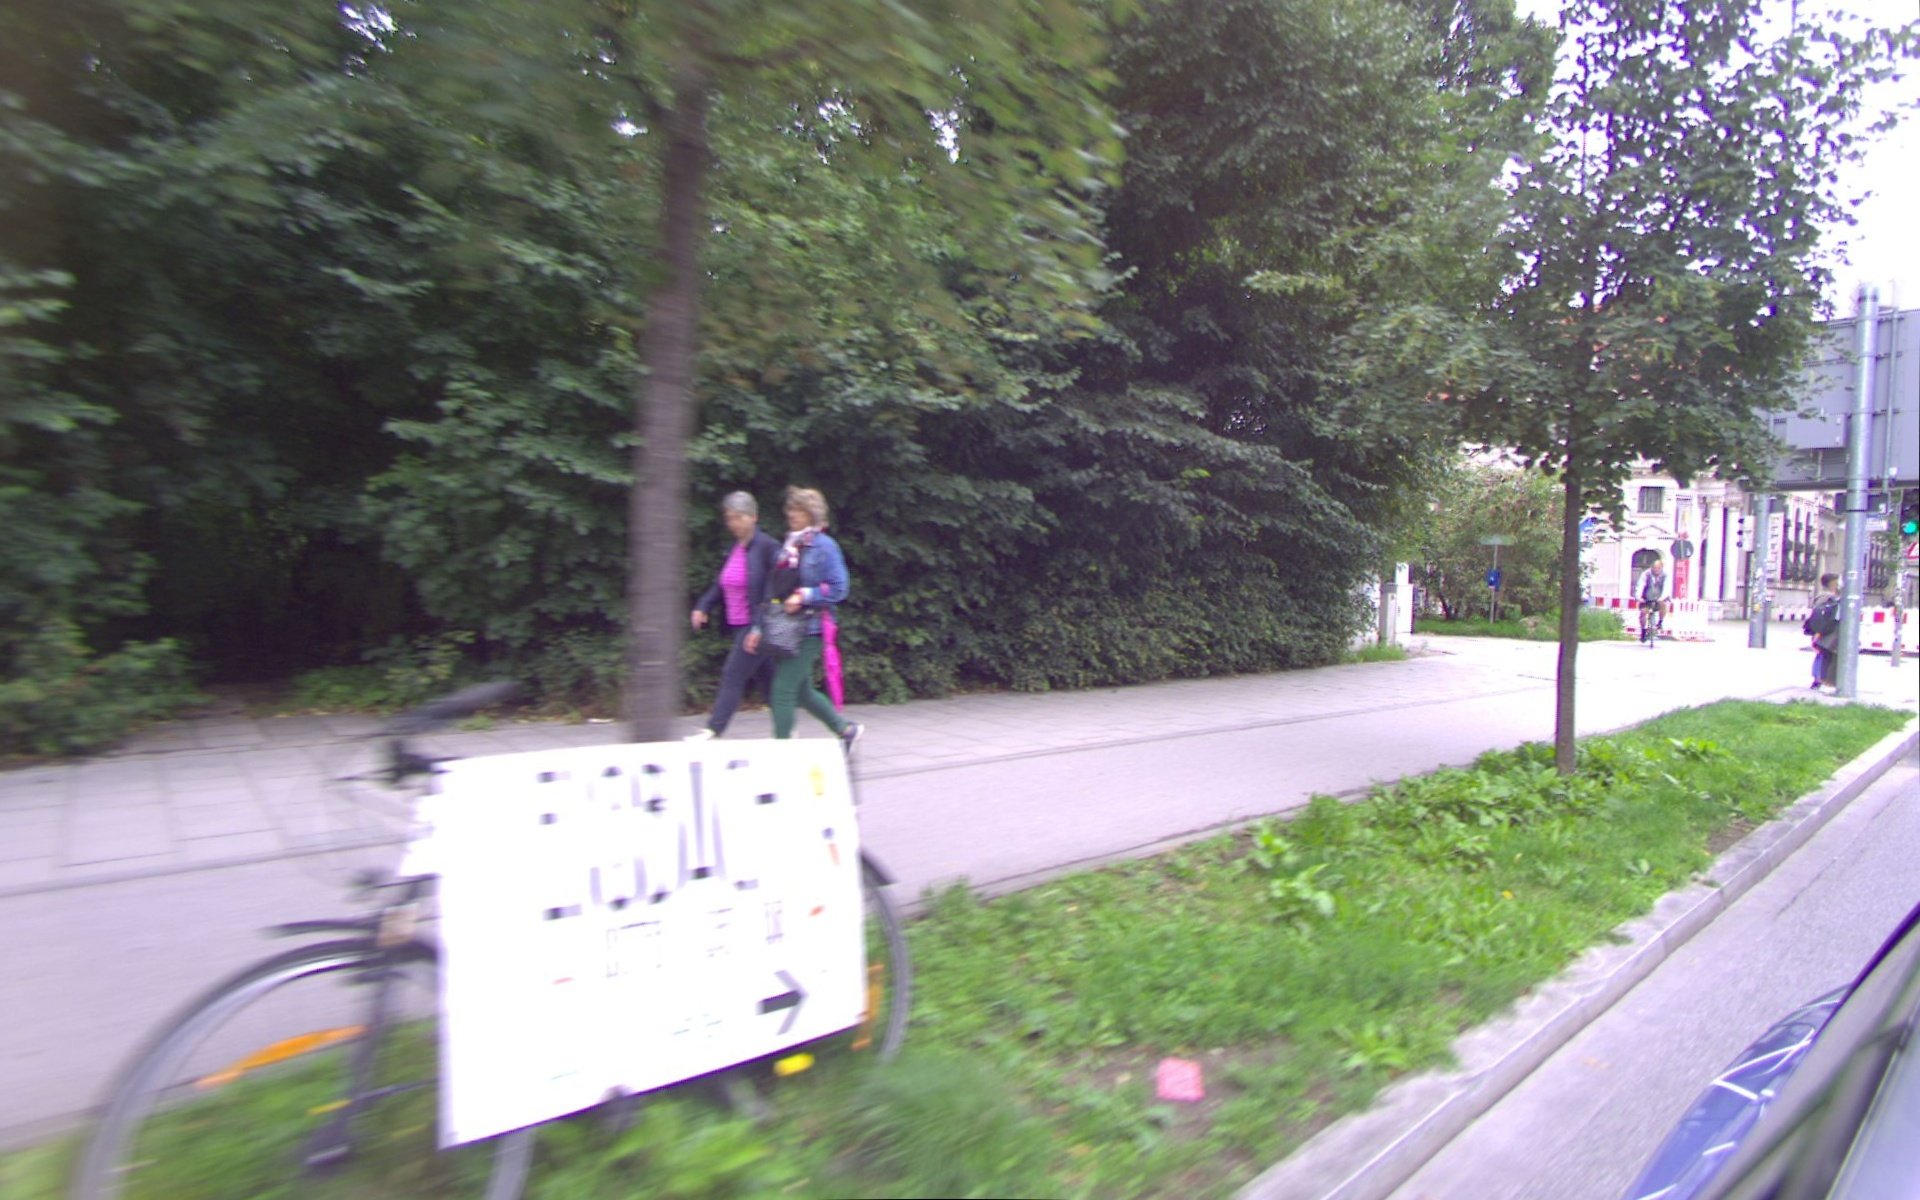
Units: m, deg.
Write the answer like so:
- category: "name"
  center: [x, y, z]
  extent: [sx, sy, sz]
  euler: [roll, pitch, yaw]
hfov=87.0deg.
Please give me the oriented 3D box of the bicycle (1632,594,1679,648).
- category: "bicycle"
  center: [14.623, 0.412, 21.253]
  extent: [0.736, 1.071, 2.134]
  euler: [1, 1, 36]

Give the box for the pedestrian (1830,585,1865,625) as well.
- category: "pedestrian"
  center: [40.623, 0.213, 46.324]
  extent: [0.761, 1.786, 1.066]
  euler: [0, 0, -41]

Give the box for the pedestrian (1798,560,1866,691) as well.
- category: "pedestrian"
  center: [12.265, 0.339, 14.235]
  extent: [0.625, 1.782, 0.625]
  euler: [0, 2, -45]

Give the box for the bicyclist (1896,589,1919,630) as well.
- category: "bicyclist"
  center: [31.657, 0.309, 33.547]
  extent: [0.878, 1.329, 0.807]
  euler: [0, 1, -41]

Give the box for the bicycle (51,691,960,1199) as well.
- category: "bicycle"
  center: [-0.865, 0.691, 2.366]
  extent: [1.856, 0.804, 0.494]
  euler: [0, 1, -41]

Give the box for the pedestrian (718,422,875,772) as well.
- category: "pedestrian"
  center: [-0.950, -0.024, 5.848]
  extent: [0.629, 1.862, 0.672]
  euler: [1, 0, -40]

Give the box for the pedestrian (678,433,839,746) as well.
- category: "pedestrian"
  center: [-1.308, -0.071, 6.557]
  extent: [0.743, 1.862, 0.752]
  euler: [0, 0, -40]

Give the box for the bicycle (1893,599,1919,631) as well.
- category: "bicycle"
  center: [31.676, 0.486, 33.598]
  extent: [2.022, 1.019, 0.830]
  euler: [0, 1, -41]

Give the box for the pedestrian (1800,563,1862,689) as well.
- category: "pedestrian"
  center: [12.834, 0.362, 14.933]
  extent: [0.608, 1.782, 0.627]
  euler: [3, 2, 39]

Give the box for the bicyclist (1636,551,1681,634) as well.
- category: "bicyclist"
  center: [14.680, -0.164, 21.283]
  extent: [0.754, 1.688, 0.888]
  euler: [1, 0, 35]
